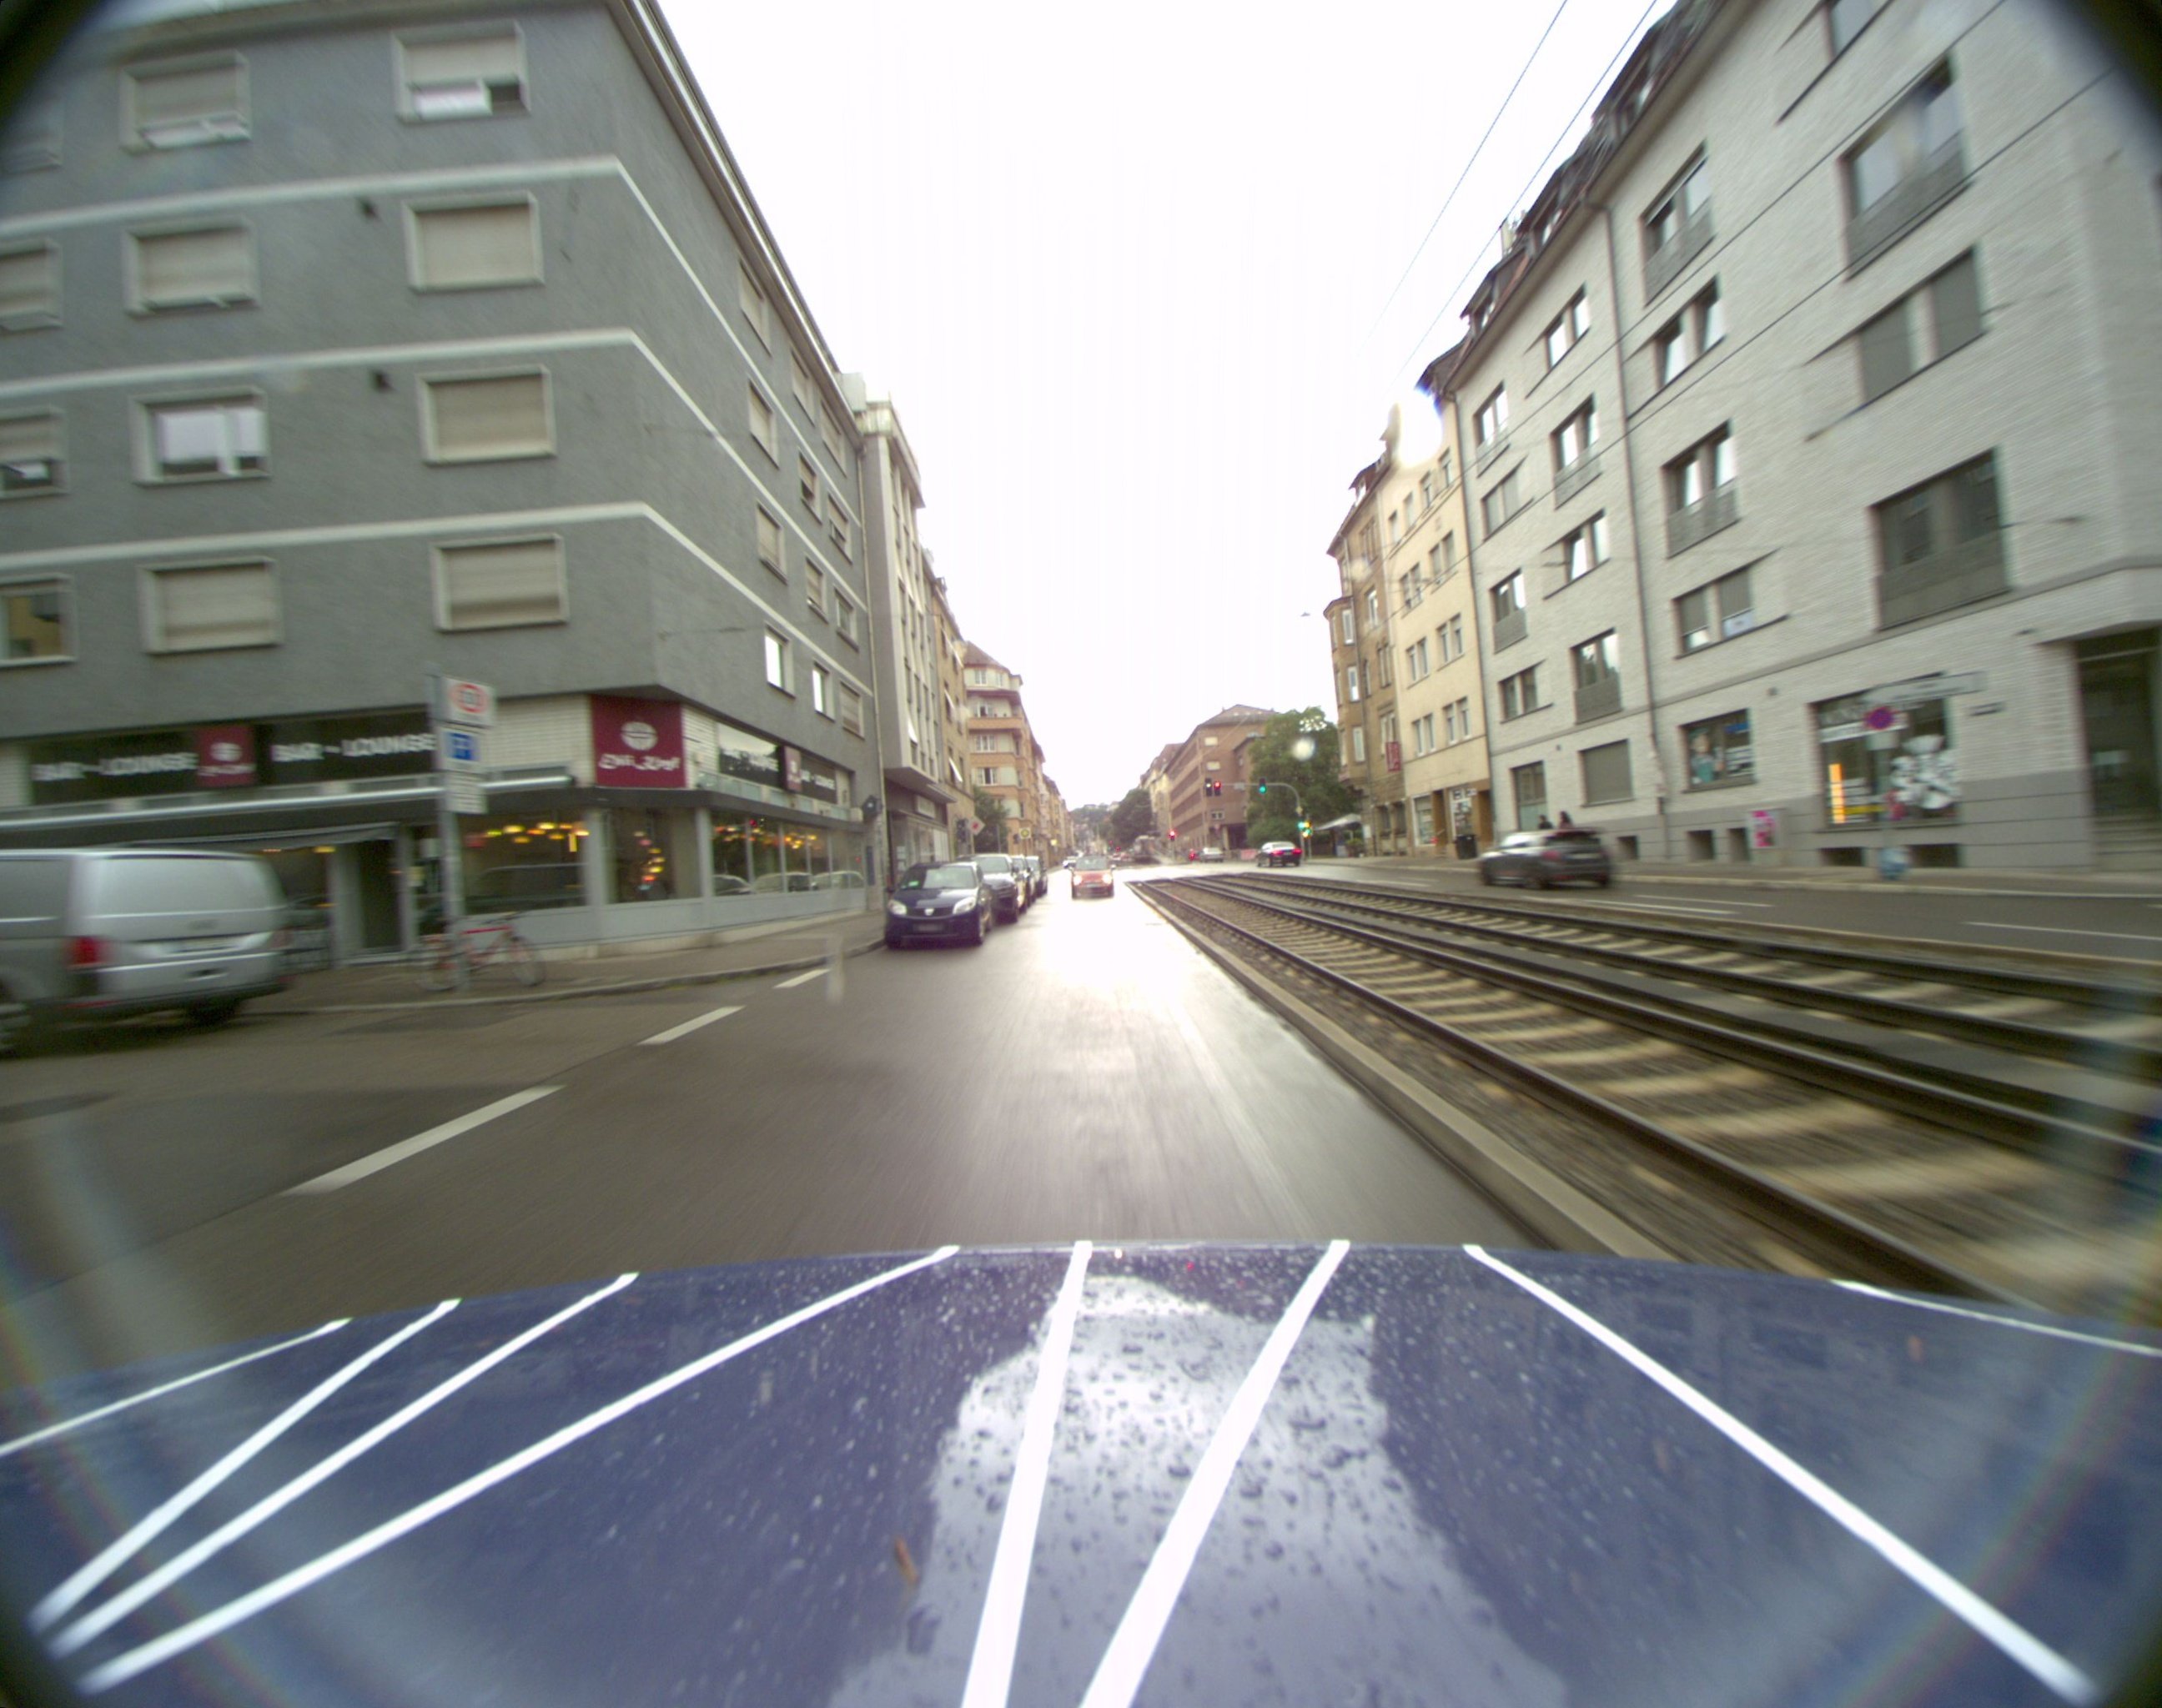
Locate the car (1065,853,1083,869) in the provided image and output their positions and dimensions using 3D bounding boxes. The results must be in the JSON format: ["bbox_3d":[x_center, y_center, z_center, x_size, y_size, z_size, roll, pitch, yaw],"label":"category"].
[{"bbox_3d":[-0.950,0.927,102.431,2.135,2.002,4.328,-3,0,1],"label":"car"}]

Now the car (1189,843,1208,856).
[{"bbox_3d":[13.352,-0.523,86.777,1.631,1.442,3.387,-3,0,1],"label":"car"}]

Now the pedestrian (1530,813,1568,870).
[{"bbox_3d":[14.826,-0.385,24.082,0.603,1.708,0.746,-6,1,4],"label":"pedestrian"}]

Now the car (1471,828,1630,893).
[{"bbox_3d":[11.430,0.131,18.818,1.708,1.379,3.782,-3,0,4],"label":"car"}]

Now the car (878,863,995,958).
[{"bbox_3d":[-2.635,0.968,14.673,1.696,1.474,3.928,-2,0,-4],"label":"car"}]

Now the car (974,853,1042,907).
[{"bbox_3d":[-2.399,0.807,25.934,1.822,1.645,4.250,-2,0,0],"label":"car"}]

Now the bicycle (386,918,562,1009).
[{"bbox_3d":[-7.661,1.374,9.622,1.753,0.967,0.533,-4,1,2],"label":"bicycle"}]

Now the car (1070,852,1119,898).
[{"bbox_3d":[0.487,0.747,29.077,1.683,1.531,4.018,-3,0,1],"label":"car"}]

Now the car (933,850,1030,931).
[{"bbox_3d":[-2.427,0.829,19.643,1.797,1.750,4.565,-3,0,0],"label":"car"}]

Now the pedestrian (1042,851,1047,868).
[{"bbox_3d":[-3.587,0.534,74.836,0.437,1.643,0.579,-3,1,0],"label":"pedestrian"}]

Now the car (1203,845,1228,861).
[{"bbox_3d":[13.219,-0.089,74.788,1.717,1.452,4.643,-3,0,2],"label":"car"}]

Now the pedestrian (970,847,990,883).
[{"bbox_3d":[-5.247,0.578,39.509,0.852,1.807,0.847,-2,1,1],"label":"pedestrian"}]

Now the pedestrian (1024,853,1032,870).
[{"bbox_3d":[-4.980,0.671,71.136,0.579,1.563,0.438,-3,1,0],"label":"pedestrian"}]

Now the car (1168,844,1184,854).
[{"bbox_3d":[13.571,-0.682,108.205,1.781,1.328,3.945,-3,0,1],"label":"car"}]

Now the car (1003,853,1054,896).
[{"bbox_3d":[-2.093,0.783,31.421,1.715,1.604,4.518,-2,0,0],"label":"car"}]

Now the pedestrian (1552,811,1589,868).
[{"bbox_3d":[15.504,-0.462,24.060,0.603,1.708,0.658,-6,1,4],"label":"pedestrian"}]

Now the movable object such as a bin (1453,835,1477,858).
[{"bbox_3d":[16.339,-0.322,32.365,0.631,0.922,0.563,-8,1,0],"label":"movable object such as a bin"}]

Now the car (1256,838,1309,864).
[{"bbox_3d":[12.394,-0.204,47.069,2.093,1.449,4.860,-3,0,3],"label":"car"}]

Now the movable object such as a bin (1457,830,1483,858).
[{"bbox_3d":[16.227,-0.397,31.710,0.631,1.074,0.563,-8,1,0],"label":"movable object such as a bin"}]
